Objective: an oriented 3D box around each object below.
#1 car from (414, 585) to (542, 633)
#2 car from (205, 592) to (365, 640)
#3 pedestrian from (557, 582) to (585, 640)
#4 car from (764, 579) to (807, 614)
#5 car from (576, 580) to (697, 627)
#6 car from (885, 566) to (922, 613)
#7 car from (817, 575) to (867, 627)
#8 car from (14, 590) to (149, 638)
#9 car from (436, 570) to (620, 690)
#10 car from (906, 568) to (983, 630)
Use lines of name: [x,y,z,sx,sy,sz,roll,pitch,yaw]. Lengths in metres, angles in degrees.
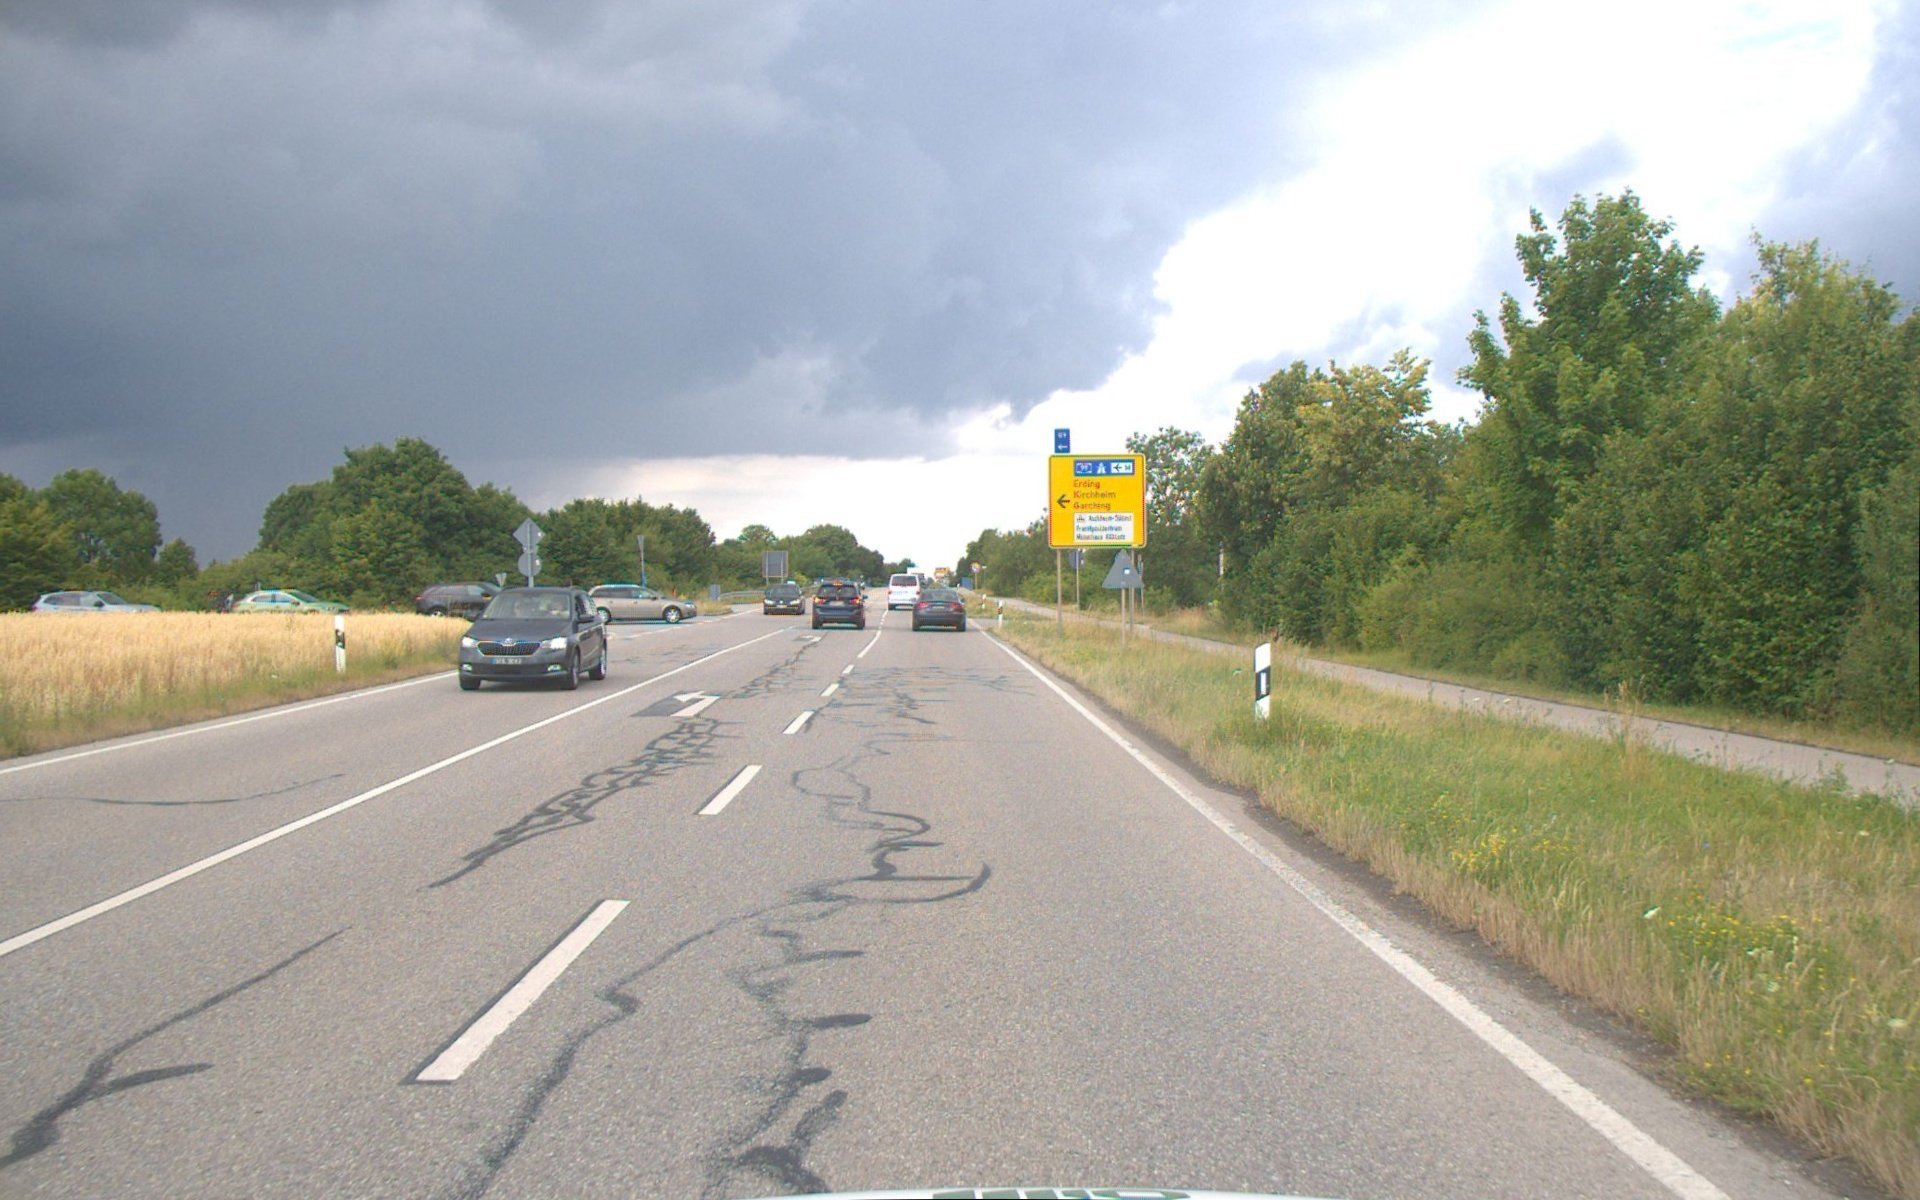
car: [-17.922,0.330,61.595,4.326,1.678,1.501,-1,0,-5]
car: [-25.232,0.578,61.943,5.197,1.678,1.867,-1,0,2]
pedestrian: [-10.915,0.315,46.445,0.360,1.603,0.701,-1,0,34]
car: [-8.195,-0.169,77.910,1.612,1.618,3.999,-1,0,-1]
car: [-12.124,0.129,62.215,4.328,1.678,1.500,-1,0,-7]
car: [-3.154,-0.582,92.461,1.958,2.495,4.851,-1,0,-1]
car: [-4.086,0.017,57.670,1.540,1.731,3.999,-1,0,-1]
car: [-32.662,0.508,61.559,3.987,1.678,1.867,-1,0,2]
car: [-6.455,0.410,25.134,1.816,1.658,3.999,-1,0,-2]
car: [-0.587,-0.033,56.521,2.325,1.913,4.474,-3,0,-4]
